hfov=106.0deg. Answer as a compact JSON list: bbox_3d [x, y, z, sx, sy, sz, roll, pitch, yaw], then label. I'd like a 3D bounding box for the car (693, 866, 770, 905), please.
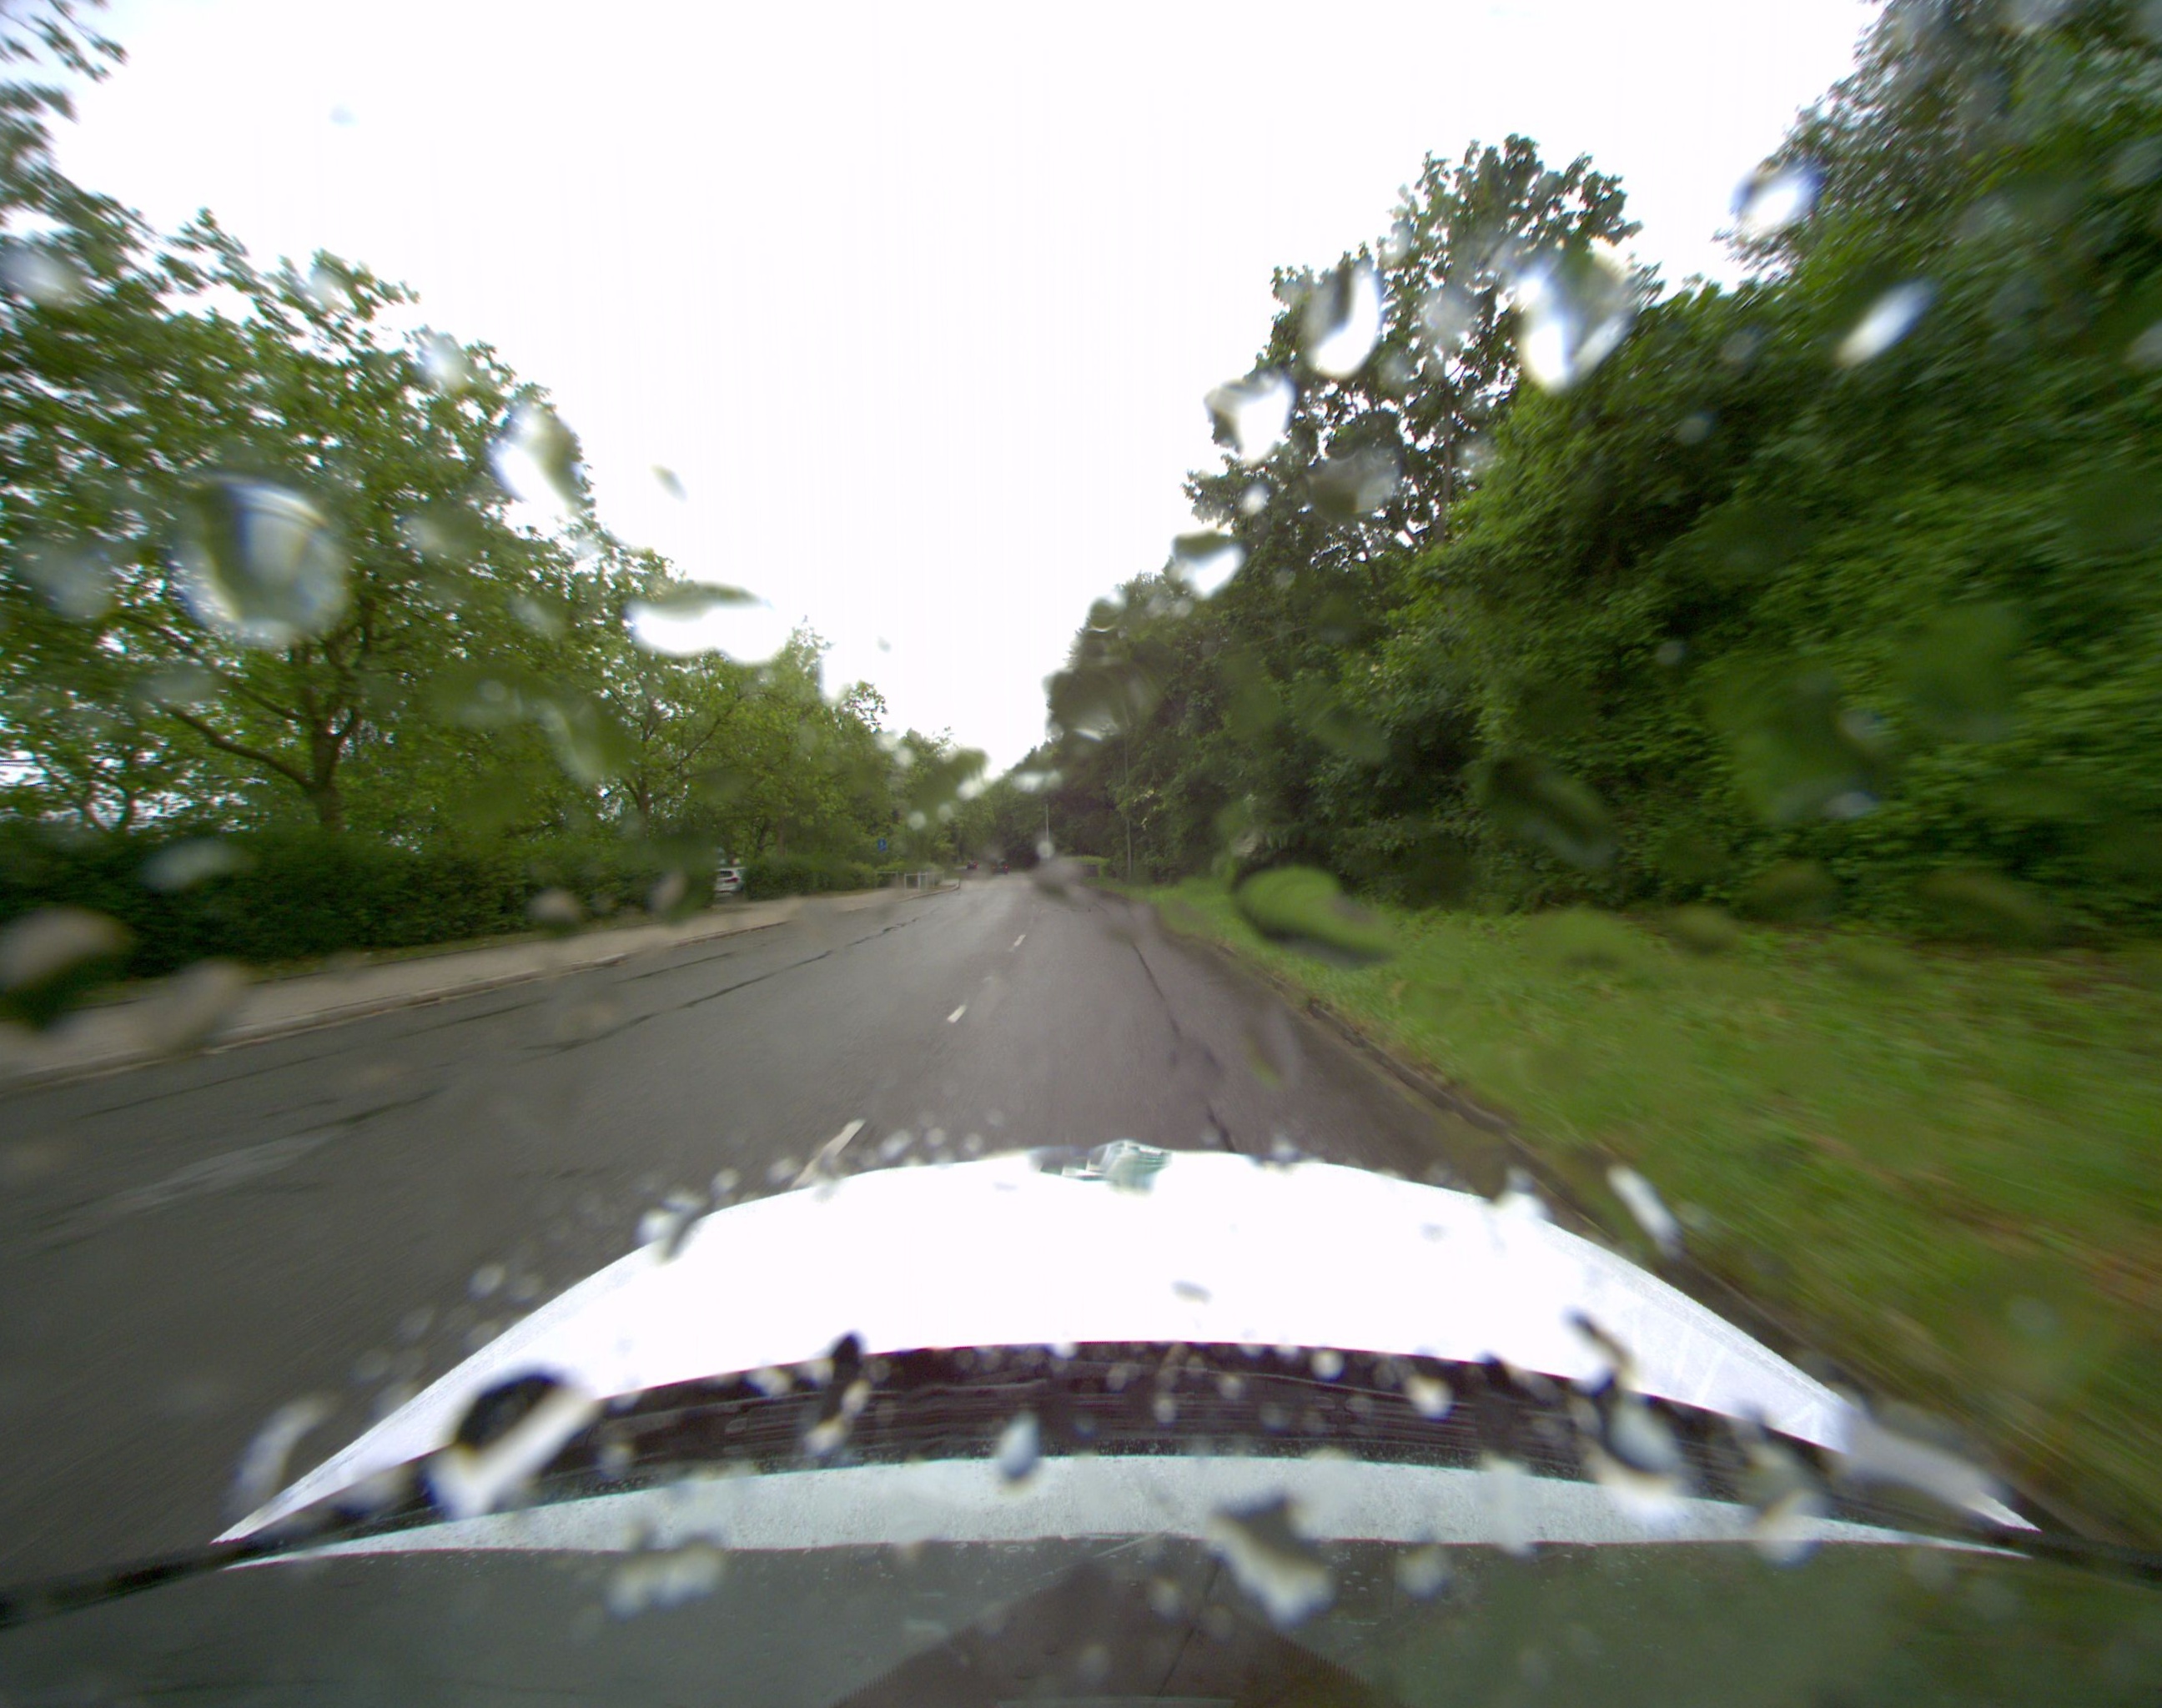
[{"bbox_3d":[-16.170,1.413,37.908,1.789,1.510,3.998,-4,0,-1],"label":"car"}]

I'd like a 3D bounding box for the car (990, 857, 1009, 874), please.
[{"bbox_3d":[-9.731,1.357,96.828,1.985,1.926,3.987,-1,0,-9],"label":"car"}]

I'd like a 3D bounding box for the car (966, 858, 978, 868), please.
[{"bbox_3d":[-19.643,1.634,146.425,1.993,1.816,3.987,0,-1,-9],"label":"car"}]
